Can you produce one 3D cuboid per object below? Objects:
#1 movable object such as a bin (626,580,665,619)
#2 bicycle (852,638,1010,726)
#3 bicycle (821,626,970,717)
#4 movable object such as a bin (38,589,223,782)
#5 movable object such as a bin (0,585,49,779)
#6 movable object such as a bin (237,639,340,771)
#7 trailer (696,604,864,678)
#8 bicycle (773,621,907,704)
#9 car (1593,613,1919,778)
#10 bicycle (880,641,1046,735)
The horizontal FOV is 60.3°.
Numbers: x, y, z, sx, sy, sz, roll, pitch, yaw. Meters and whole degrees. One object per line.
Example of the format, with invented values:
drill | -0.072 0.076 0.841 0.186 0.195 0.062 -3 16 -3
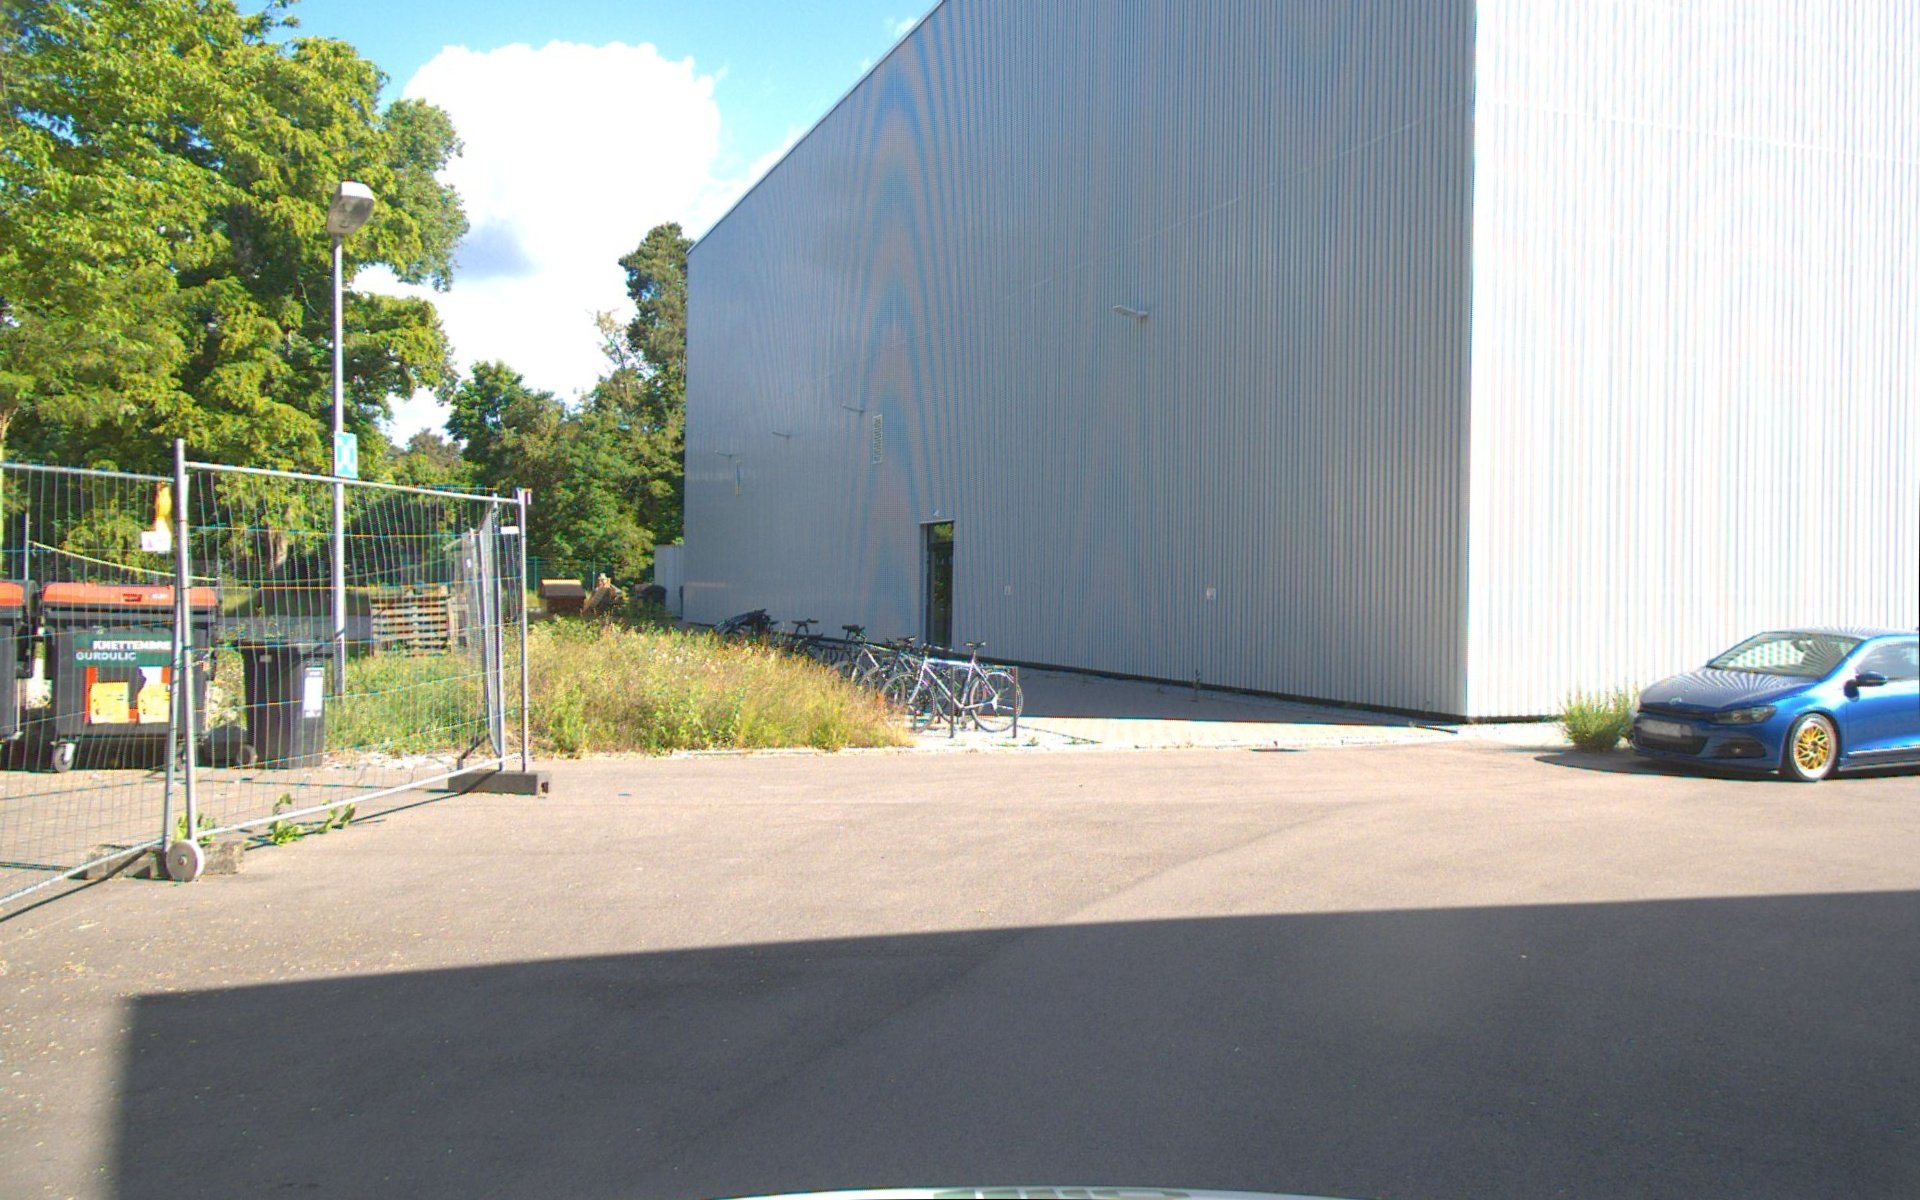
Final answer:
movable object such as a bin | -13.921 -0.024 73.048 1.342 1.685 2.827 0 0 -18
bicycle | -0.340 0.960 19.699 1.857 0.995 0.430 0 0 -22
bicycle | -0.808 0.890 20.886 1.857 1.101 0.430 0 0 -22
movable object such as a bin | -6.579 0.640 13.202 1.271 1.451 1.024 0 0 -25
movable object such as a bin | -7.760 0.610 12.659 1.270 1.451 1.025 0 0 -24
movable object such as a bin | -5.462 0.842 13.480 0.629 1.025 0.604 0 0 -6
trailer | -3.116 0.680 28.621 2.673 1.221 1.238 0 0 -22
bicycle | -1.695 0.873 23.461 1.857 1.145 0.430 0 0 -22
car | 8.382 0.874 16.080 4.097 1.408 1.743 1 0 -23
bicycle | 0.042 0.972 18.569 1.857 0.995 0.430 0 0 -22
